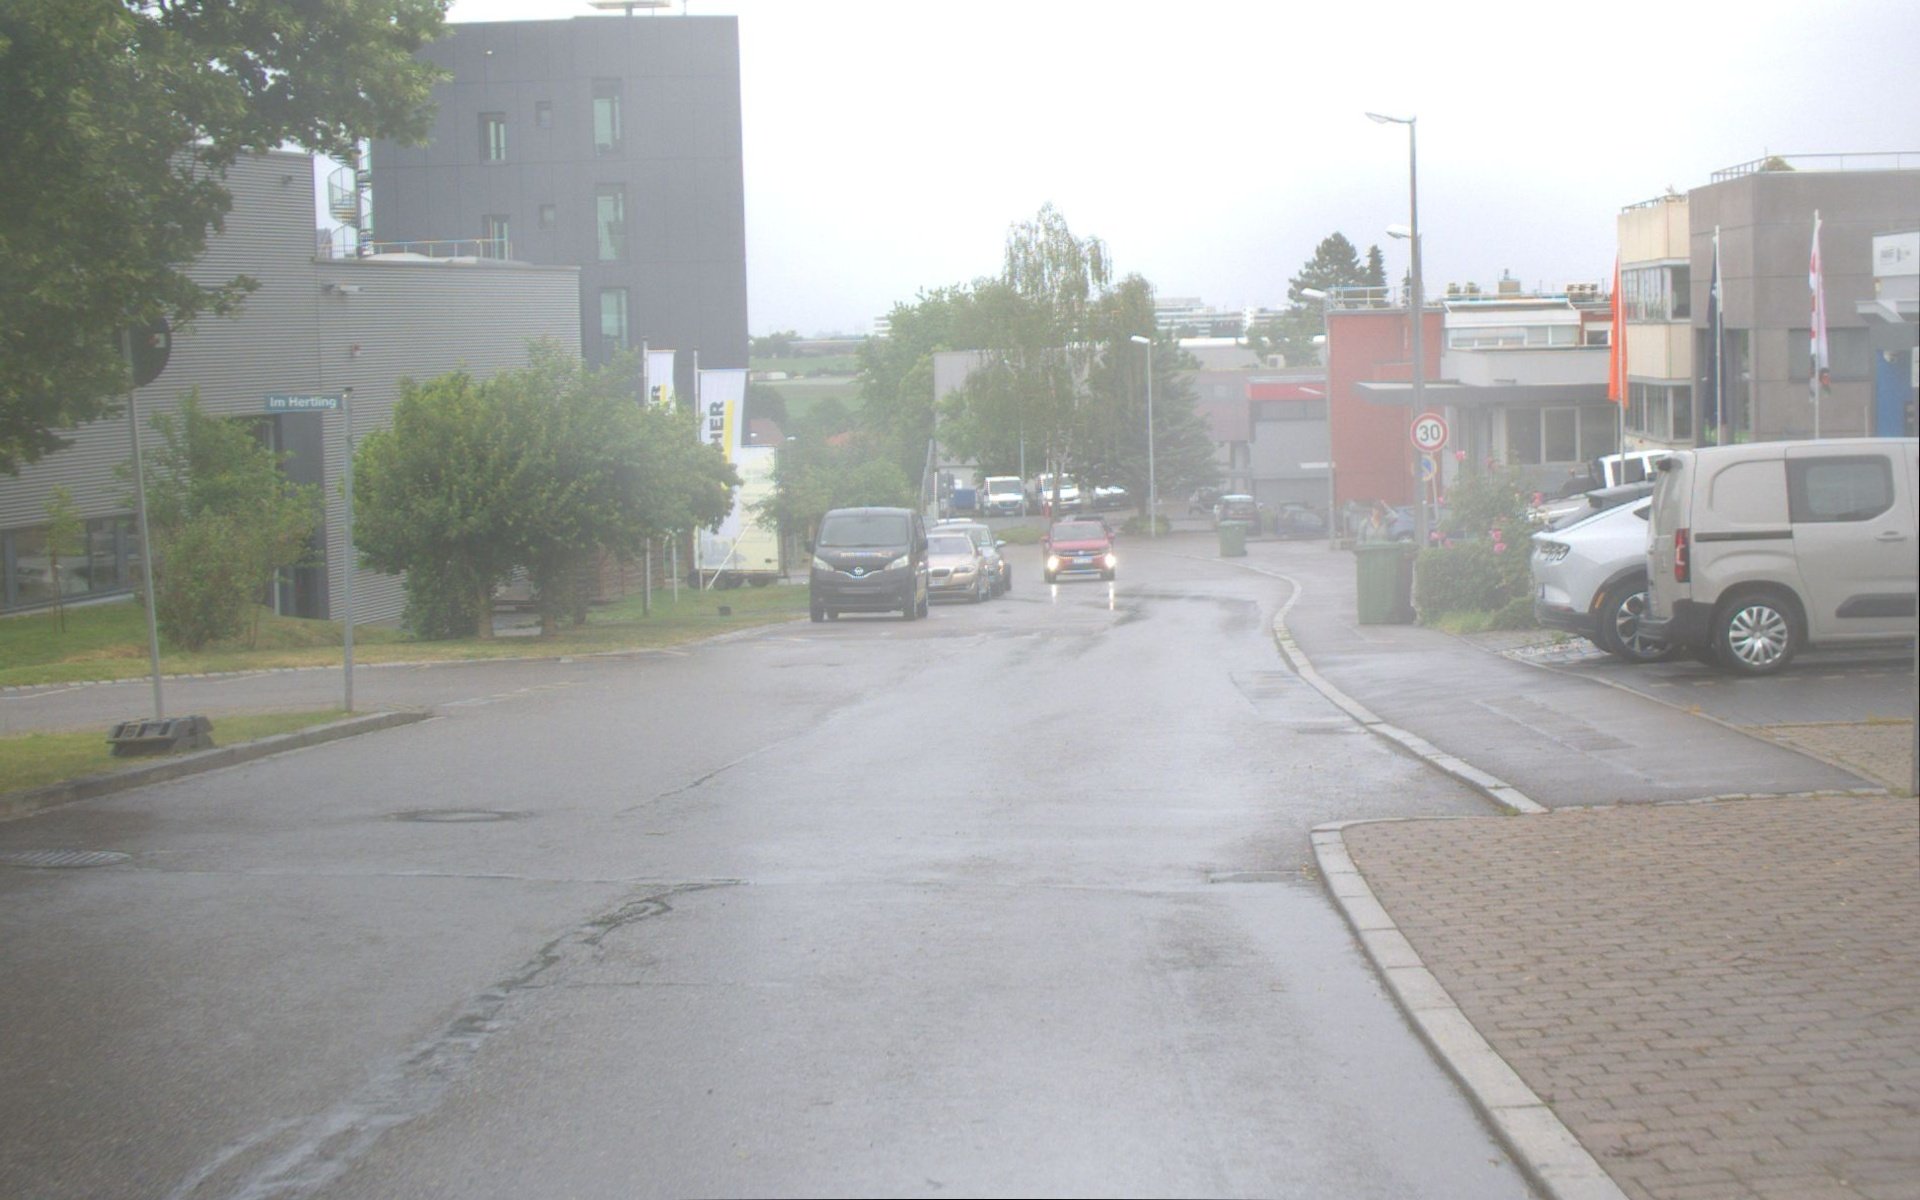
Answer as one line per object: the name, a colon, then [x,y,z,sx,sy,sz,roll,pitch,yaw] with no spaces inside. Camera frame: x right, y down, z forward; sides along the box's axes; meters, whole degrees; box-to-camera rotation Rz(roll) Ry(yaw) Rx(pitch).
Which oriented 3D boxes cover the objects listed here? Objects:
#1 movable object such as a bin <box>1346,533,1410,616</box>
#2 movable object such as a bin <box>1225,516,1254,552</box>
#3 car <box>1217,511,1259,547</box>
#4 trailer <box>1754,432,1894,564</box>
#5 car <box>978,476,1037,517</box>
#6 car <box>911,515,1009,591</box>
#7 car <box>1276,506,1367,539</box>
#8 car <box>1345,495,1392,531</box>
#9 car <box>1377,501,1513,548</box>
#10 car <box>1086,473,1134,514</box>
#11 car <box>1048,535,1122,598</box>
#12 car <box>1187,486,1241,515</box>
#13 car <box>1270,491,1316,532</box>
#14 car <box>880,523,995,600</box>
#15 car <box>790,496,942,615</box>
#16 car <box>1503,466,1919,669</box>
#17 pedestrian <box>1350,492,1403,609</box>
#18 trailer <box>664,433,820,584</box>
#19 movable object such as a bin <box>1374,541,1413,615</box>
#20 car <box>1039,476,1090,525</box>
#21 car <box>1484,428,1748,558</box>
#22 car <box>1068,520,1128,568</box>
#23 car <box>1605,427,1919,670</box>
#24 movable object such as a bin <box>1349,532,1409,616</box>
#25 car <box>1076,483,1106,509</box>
movable object such as a bin: [5.370,-0.335,44.155,0.772,1.026,0.808,-1,1,5]
movable object such as a bin: [8.737,-2.077,107.591,0.806,1.089,0.709,-2,2,-1]
car: [11.945,-3.038,147.836,1.697,1.470,4.000,-2,1,3]
trailer: [16.573,-1.994,66.119,1.887,2.408,4.308,-2,2,5]
car: [2.516,-5.501,183.037,2.264,2.007,4.001,-2,1,-12]
car: [0.031,-1.062,77.418,1.957,1.571,4.840,-3,1,2]
car: [13.649,-2.926,129.905,3.401,1.159,1.791,-1,2,6]
car: [17.486,-3.720,147.336,1.729,1.417,4.000,-2,1,3]
car: [14.494,-2.260,102.879,3.895,1.379,1.821,0,1,3]
car: [8.024,-5.697,184.105,2.145,2.007,3.940,-2,1,-3]
car: [3.274,-0.875,90.401,1.747,1.503,3.935,-4,0,1]
car: [12.556,-4.936,169.971,2.547,1.347,1.242,-2,2,-1]
car: [14.363,-3.806,148.387,1.739,1.648,4.000,-2,1,3]
car: [-0.424,-0.819,71.061,1.956,1.456,5.247,-2,1,4]
car: [-1.493,-0.758,56.455,1.916,1.825,4.847,-1,1,5]
car: [7.221,-0.340,30.156,4.597,1.533,2.079,-3,1,4]
pedestrian: [6.358,-0.760,52.502,0.737,1.761,0.808,-1,1,5]
trailer: [-6.334,-2.635,99.719,4.183,4.188,2.001,-1,2,42]
movable object such as a bin: [5.767,-0.299,45.733,0.472,0.964,0.514,-1,1,5]
car: [5.554,-5.275,183.275,2.192,2.451,4.001,-2,1,-5]
car: [14.572,-2.373,76.620,5.299,2.006,2.222,-9,0,4]
car: [5.044,-2.041,125.962,1.956,1.670,4.472,-2,0,0]
car: [7.442,-0.456,27.046,4.341,1.767,2.089,-2,1,2]
movable object such as a bin: [5.469,-0.345,44.885,0.743,1.063,0.636,-1,1,5]
car: [7.225,-5.725,189.771,1.398,1.321,2.701,-2,1,-3]
